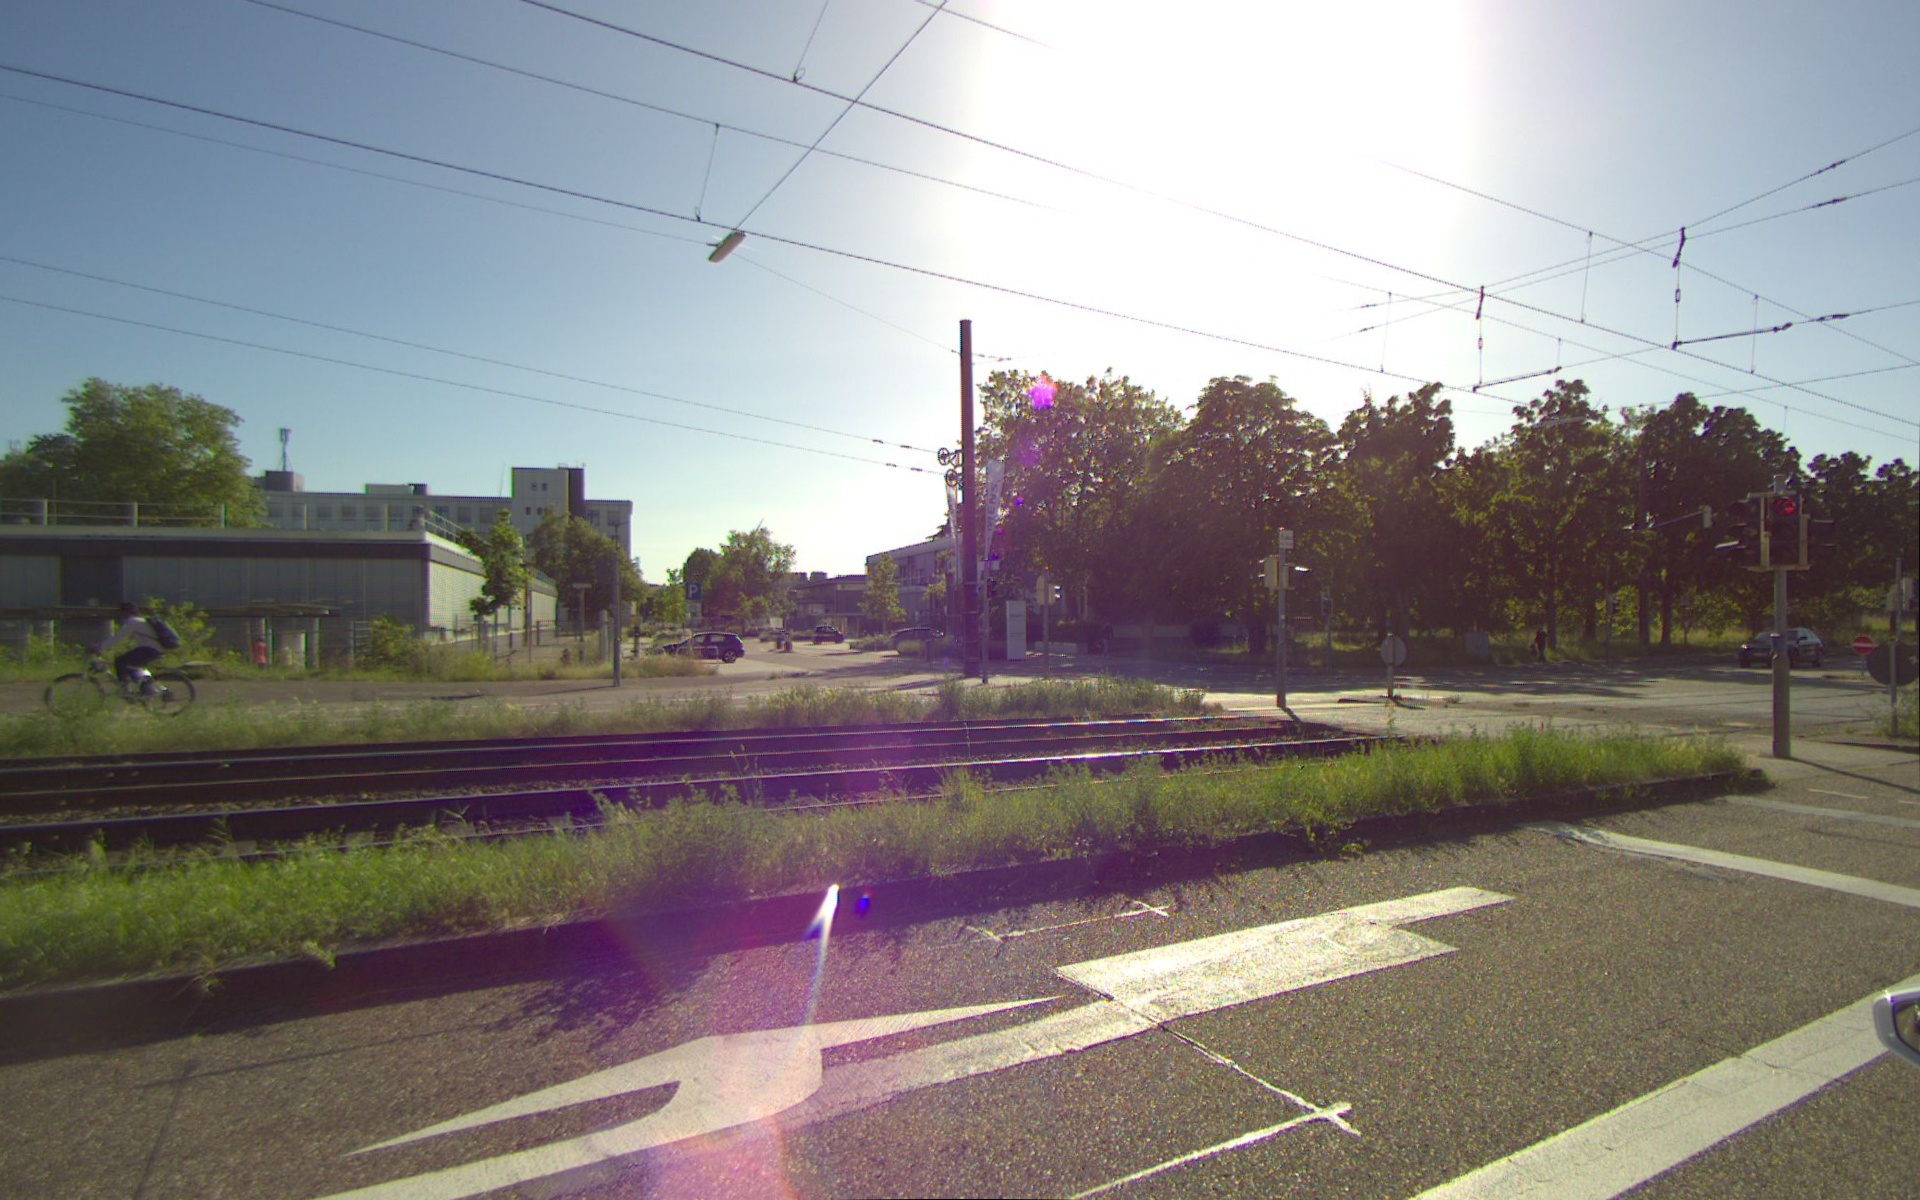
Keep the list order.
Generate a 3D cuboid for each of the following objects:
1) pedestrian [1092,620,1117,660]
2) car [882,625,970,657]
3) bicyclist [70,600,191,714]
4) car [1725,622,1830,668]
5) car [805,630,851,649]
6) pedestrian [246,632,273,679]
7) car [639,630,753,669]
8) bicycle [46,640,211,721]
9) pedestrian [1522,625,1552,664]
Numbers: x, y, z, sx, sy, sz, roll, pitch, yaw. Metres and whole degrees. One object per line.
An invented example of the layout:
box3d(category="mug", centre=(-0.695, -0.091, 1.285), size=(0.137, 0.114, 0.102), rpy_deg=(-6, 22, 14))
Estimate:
box3d(category="pedestrian", centre=(6.744, 1.863, 46.910), size=(0.807, 1.811, 0.950), rpy_deg=(0, -1, -16))
box3d(category="car", centre=(-1.989, 2.414, 58.710), size=(4.768, 1.751, 2.041), rpy_deg=(1, -1, -22))
box3d(category="bicyclist", centre=(-12.266, 0.828, 14.904), size=(1.222, 1.614, 0.799), rpy_deg=(1, 0, -29))
box3d(category="car", centre=(35.040, 1.926, 43.037), size=(4.740, 1.834, 2.082), rpy_deg=(0, -3, -33))
box3d(category="car", centre=(-11.385, 3.421, 86.557), size=(3.566, 1.611, 1.792), rpy_deg=(1, -1, -23))
box3d(category="pedestrian", centre=(-19.815, 1.564, 28.422), size=(0.432, 1.318, 0.441), rpy_deg=(0, -1, 18))
box3d(category="car", centre=(-12.845, 2.399, 48.888), size=(5.210, 1.772, 2.164), rpy_deg=(1, -1, -19))
box3d(category="bicycle", centre=(-12.279, 1.172, 14.900), size=(1.760, 1.117, 0.693), rpy_deg=(1, -1, -30))
box3d(category="pedestrian", centre=(26.361, 2.030, 45.916), size=(0.919, 1.757, 0.761), rpy_deg=(0, -1, -2))
